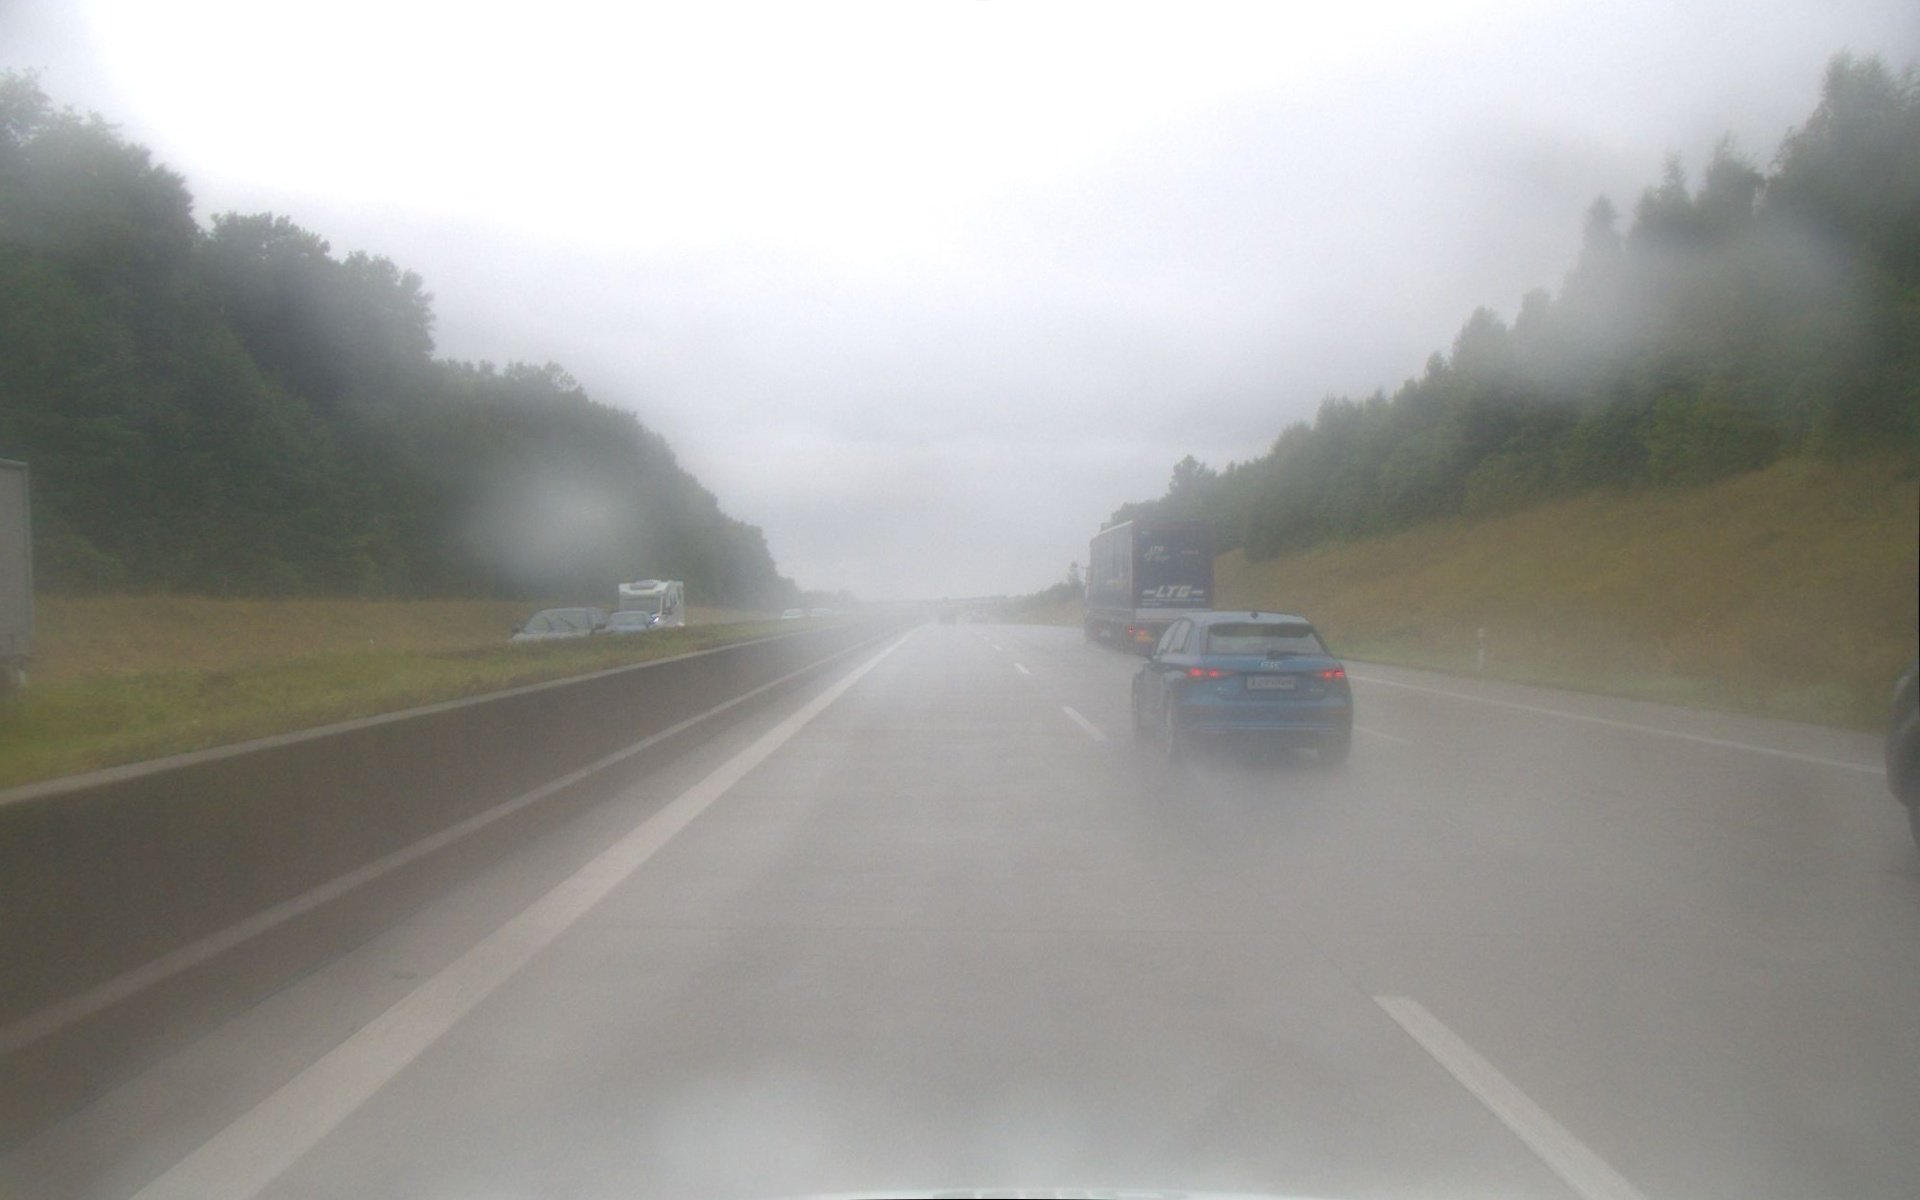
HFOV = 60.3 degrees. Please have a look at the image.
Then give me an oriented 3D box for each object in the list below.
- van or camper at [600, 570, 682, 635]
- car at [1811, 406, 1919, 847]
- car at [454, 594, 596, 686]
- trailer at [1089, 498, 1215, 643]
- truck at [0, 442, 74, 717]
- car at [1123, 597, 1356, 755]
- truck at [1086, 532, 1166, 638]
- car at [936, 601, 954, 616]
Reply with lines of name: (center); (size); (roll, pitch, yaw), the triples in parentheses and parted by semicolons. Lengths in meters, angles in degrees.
van or camper: (-14.613, 0.152, 76.290); (2.363, 2.783, 7.711); (-1, -1, -1)
car: (6.837, 0.182, 8.137); (1.901, 2.705, 6.586); (1, 0, 0)
car: (-8.703, 0.750, 33.465); (1.725, 1.716, 4.454); (-1, 0, -1)
trailer: (6.551, -0.833, 58.884); (2.651, 4.456, 15.202); (1, -1, 0)
truck: (-15.887, -0.256, 22.931); (2.532, 4.213, 8.590); (-3, 0, -1)
car: (2.903, 0.779, 18.163); (1.694, 1.484, 4.671); (-1, -1, -1)
truck: (6.561, -0.538, 66.092); (2.582, 4.023, 5.685); (1, -1, 0)
car: (-1.491, 0.829, 163.003); (1.694, 1.354, 4.429); (0, 0, -1)
